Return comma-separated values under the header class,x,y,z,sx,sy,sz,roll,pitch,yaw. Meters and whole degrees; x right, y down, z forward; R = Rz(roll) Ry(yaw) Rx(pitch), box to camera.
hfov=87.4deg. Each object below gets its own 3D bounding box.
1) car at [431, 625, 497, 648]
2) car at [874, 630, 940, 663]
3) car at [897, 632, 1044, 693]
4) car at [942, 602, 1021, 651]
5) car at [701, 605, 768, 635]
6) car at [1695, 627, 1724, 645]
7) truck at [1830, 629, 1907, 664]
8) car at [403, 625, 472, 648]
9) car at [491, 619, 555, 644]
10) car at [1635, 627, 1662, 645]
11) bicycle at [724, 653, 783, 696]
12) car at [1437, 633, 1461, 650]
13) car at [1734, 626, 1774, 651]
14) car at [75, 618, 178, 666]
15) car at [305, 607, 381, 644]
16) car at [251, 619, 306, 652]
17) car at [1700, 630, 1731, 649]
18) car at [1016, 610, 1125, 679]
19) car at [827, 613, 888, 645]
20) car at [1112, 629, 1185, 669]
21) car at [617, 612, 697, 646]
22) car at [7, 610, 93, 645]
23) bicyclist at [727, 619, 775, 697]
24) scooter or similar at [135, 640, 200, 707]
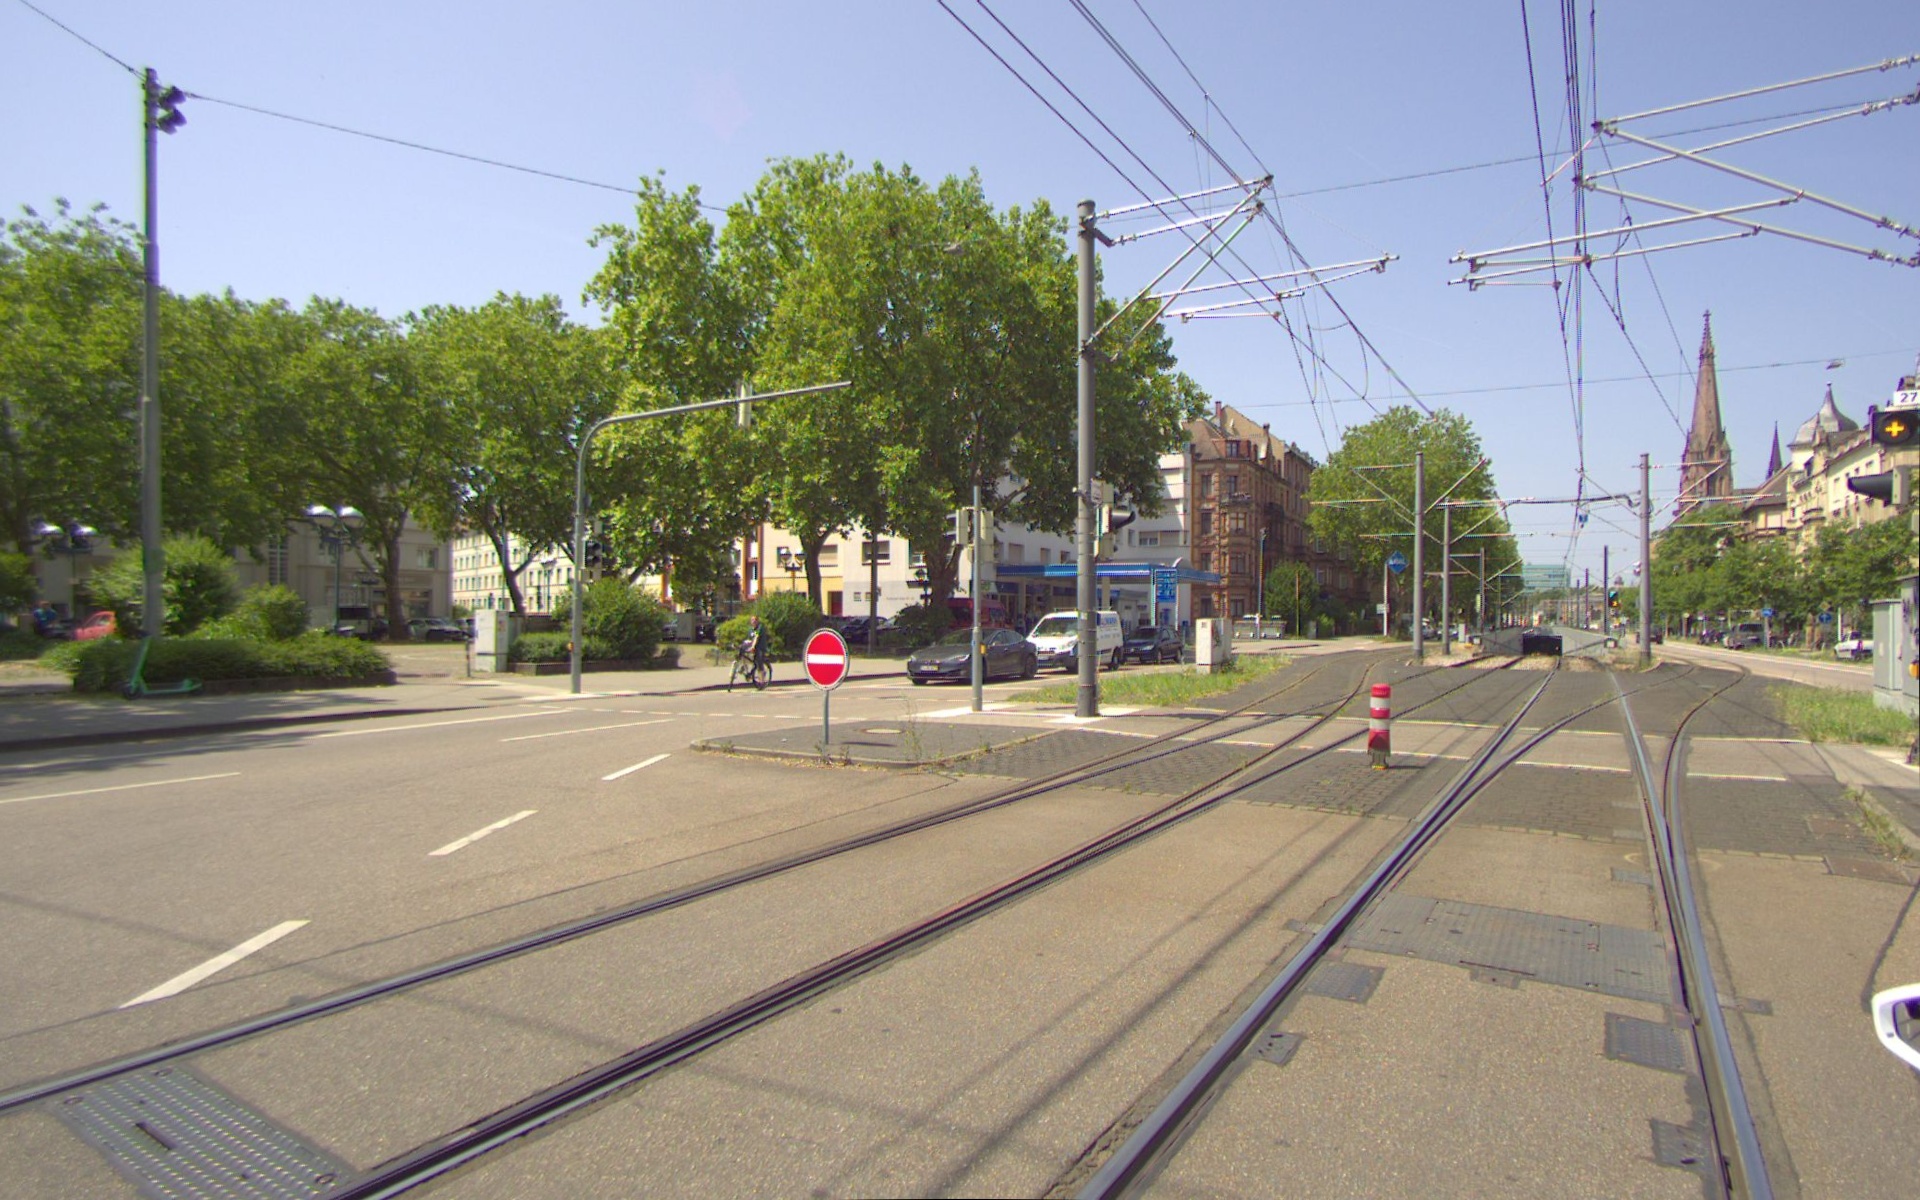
class,x,y,z,sx,sy,sz,roll,pitch,yaw
car,-31.322,2.283,63.389,3.780,1.272,1.920,1,-1,29
car,-2.768,2.413,53.123,1.558,1.664,3.917,-1,-1,31
car,0.386,1.571,26.513,1.918,1.377,4.621,0,-1,29
car,1.179,1.353,51.847,1.821,2.424,4.970,0,-1,32
car,-13.440,1.194,60.137,1.808,1.714,3.920,0,-1,28
car,68.665,3.282,92.071,1.724,1.599,3.751,1,-1,30
truck,42.606,2.161,47.198,1.764,1.546,4.456,-1,-2,30
car,-31.520,2.197,60.569,3.780,1.272,1.920,1,-1,29
car,-27.525,1.986,63.258,3.780,1.507,1.731,0,-1,29
car,63.466,3.275,92.600,1.724,1.559,3.751,1,-1,30
bicycle,-4.715,1.687,23.033,0.488,0.894,1.480,1,-1,28
car,50.035,4.222,102.686,1.821,1.647,4.592,-1,-2,31
car,56.545,2.727,71.572,1.724,1.728,3.751,1,-1,30
car,-26.555,1.314,31.981,3.285,1.402,1.470,1,-1,30
car,-34.518,1.414,56.180,3.933,1.975,2.159,1,-1,34
car,-42.897,2.219,63.182,3.861,1.975,1.569,1,-1,35
car,65.591,3.426,87.241,1.724,1.599,3.751,1,-1,30
car,3.623,1.360,32.001,1.751,2.017,4.797,0,-1,29
car,-5.772,1.618,56.893,1.557,1.714,3.920,0,-1,28
car,7.230,1.841,38.338,1.573,1.439,3.775,-2,-2,30
car,-19.013,1.797,63.234,1.887,2.017,5.103,0,-1,25
car,-31.003,0.926,34.210,2.688,1.112,1.356,1,-1,28
bicyclist,-4.769,1.304,22.932,0.628,1.708,0.868,1,-1,27
scooter or similar,-13.894,1.270,17.616,0.254,1.135,0.855,1,-1,43
